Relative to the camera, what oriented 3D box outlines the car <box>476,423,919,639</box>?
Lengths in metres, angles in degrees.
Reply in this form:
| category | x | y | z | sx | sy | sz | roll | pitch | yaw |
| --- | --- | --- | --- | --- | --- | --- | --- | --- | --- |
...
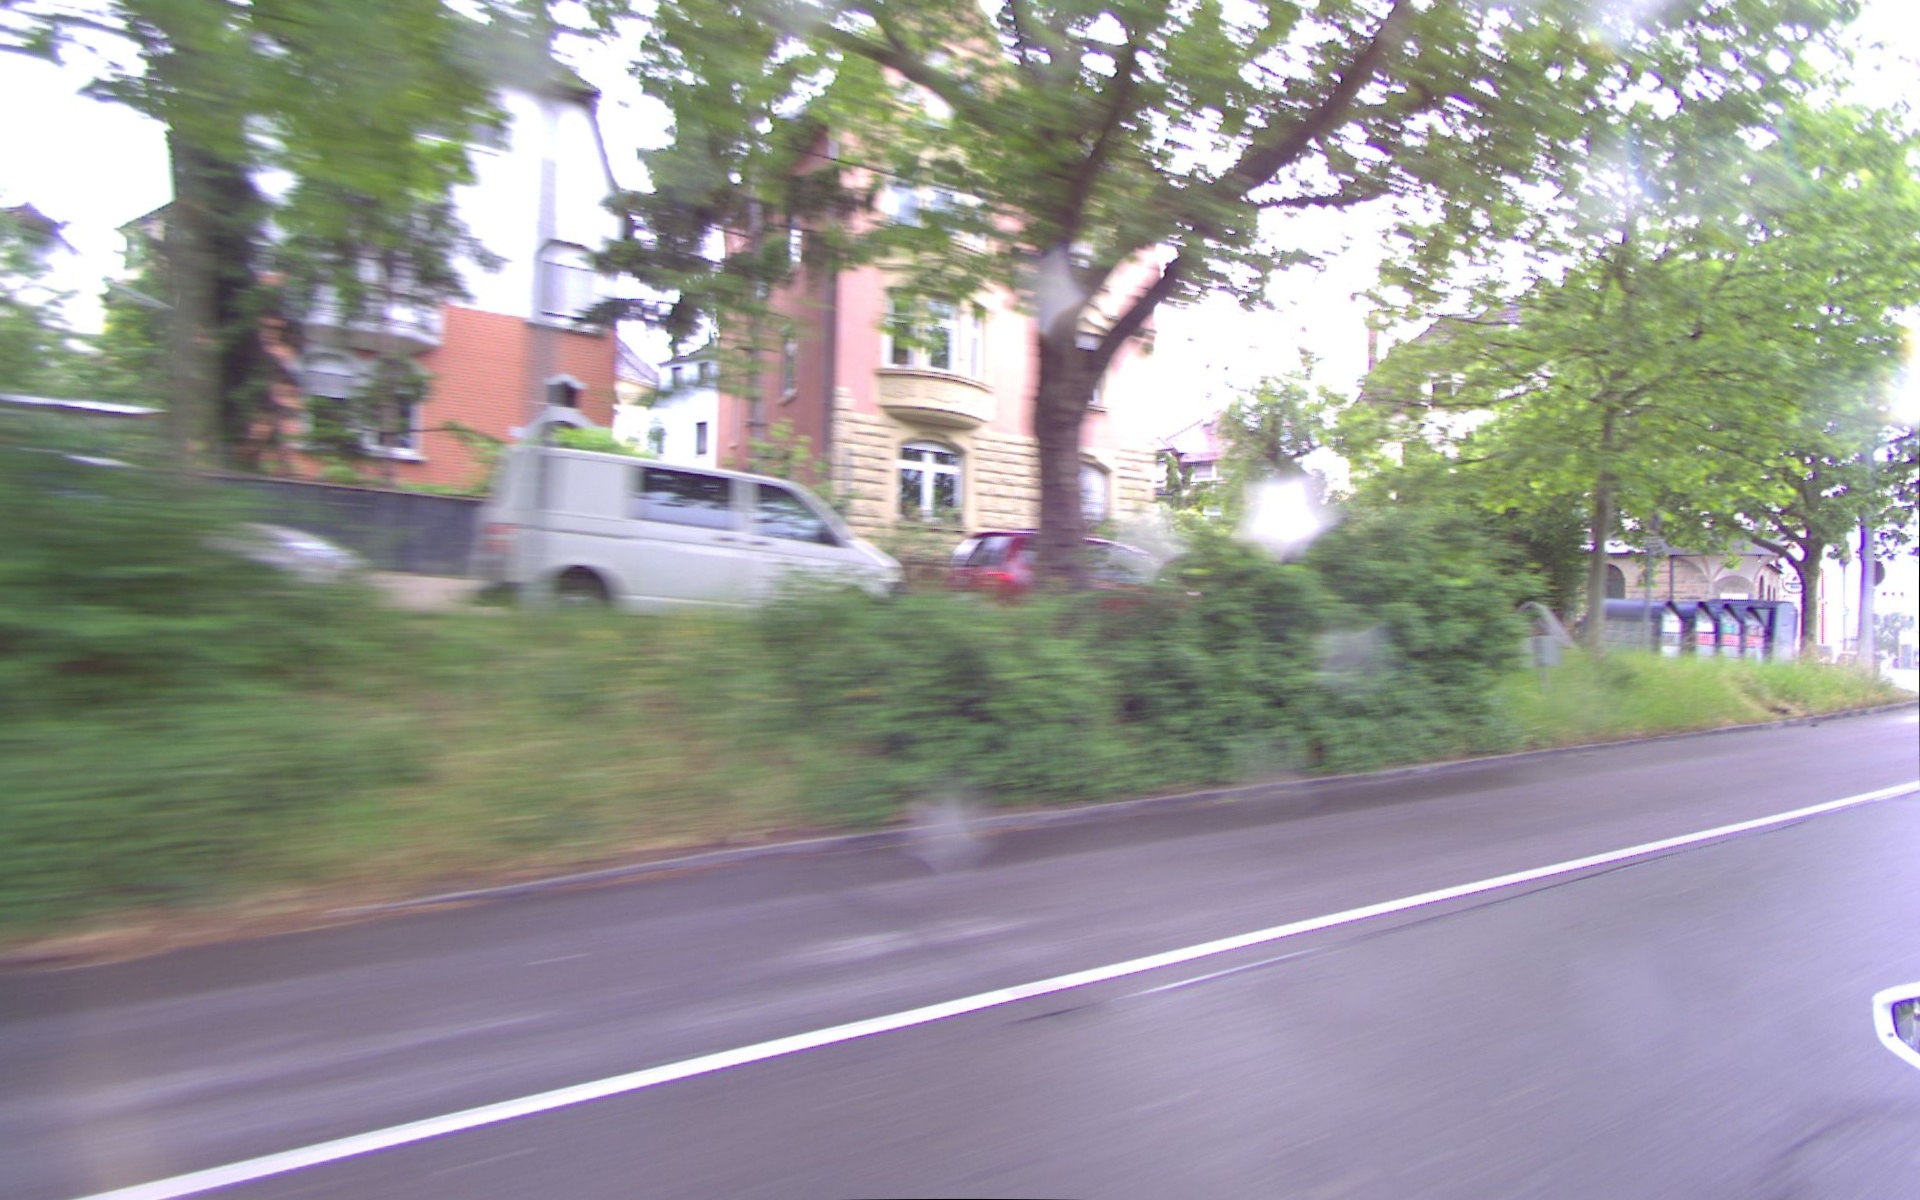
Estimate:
| category | x | y | z | sx | sy | sz | roll | pitch | yaw |
| --- | --- | --- | --- | --- | --- | --- | --- | --- | --- |
| car | -2.951 | -0.633 | 11.487 | 4.570 | 2.040 | 1.985 | 1 | 0 | -29 |

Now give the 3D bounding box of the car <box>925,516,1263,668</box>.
| category | x | y | z | sx | sy | sz | roll | pitch | yaw |
| --- | --- | --- | --- | --- | --- | --- | --- | --- | --- |
| car | 1.953 | -0.072 | 14.260 | 4.570 | 1.868 | 1.822 | 1 | 0 | -29 |

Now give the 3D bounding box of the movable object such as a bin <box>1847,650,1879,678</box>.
| category | x | y | z | sx | sy | sz | roll | pitch | yaw |
| --- | --- | --- | --- | --- | --- | --- | --- | --- | --- |
| movable object such as a bin | 43.157 | 3.029 | 48.019 | 0.877 | 1.239 | 1.202 | 1 | 0 | 28 |

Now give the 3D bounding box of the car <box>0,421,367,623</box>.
| category | x | y | z | sx | sy | sz | roll | pitch | yaw |
| --- | --- | --- | --- | --- | --- | --- | --- | --- | --- |
| car | -7.841 | -0.618 | 8.702 | 4.570 | 1.578 | 1.822 | 1 | 0 | -29 |

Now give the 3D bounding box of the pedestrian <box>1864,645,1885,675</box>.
| category | x | y | z | sx | sy | sz | roll | pitch | yaw |
| --- | --- | --- | --- | --- | --- | --- | --- | --- | --- |
| pedestrian | 51.672 | 3.397 | 56.740 | 1.083 | 1.610 | 0.757 | 1 | 1 | -42 |

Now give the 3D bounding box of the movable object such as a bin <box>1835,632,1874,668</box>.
| category | x | y | z | sx | sy | sz | roll | pitch | yaw |
| --- | --- | --- | --- | --- | --- | --- | --- | --- | --- |
| movable object such as a bin | 73.590 | 4.059 | 82.590 | 4.595 | 2.719 | 1.974 | 1 | 1 | -43 |
